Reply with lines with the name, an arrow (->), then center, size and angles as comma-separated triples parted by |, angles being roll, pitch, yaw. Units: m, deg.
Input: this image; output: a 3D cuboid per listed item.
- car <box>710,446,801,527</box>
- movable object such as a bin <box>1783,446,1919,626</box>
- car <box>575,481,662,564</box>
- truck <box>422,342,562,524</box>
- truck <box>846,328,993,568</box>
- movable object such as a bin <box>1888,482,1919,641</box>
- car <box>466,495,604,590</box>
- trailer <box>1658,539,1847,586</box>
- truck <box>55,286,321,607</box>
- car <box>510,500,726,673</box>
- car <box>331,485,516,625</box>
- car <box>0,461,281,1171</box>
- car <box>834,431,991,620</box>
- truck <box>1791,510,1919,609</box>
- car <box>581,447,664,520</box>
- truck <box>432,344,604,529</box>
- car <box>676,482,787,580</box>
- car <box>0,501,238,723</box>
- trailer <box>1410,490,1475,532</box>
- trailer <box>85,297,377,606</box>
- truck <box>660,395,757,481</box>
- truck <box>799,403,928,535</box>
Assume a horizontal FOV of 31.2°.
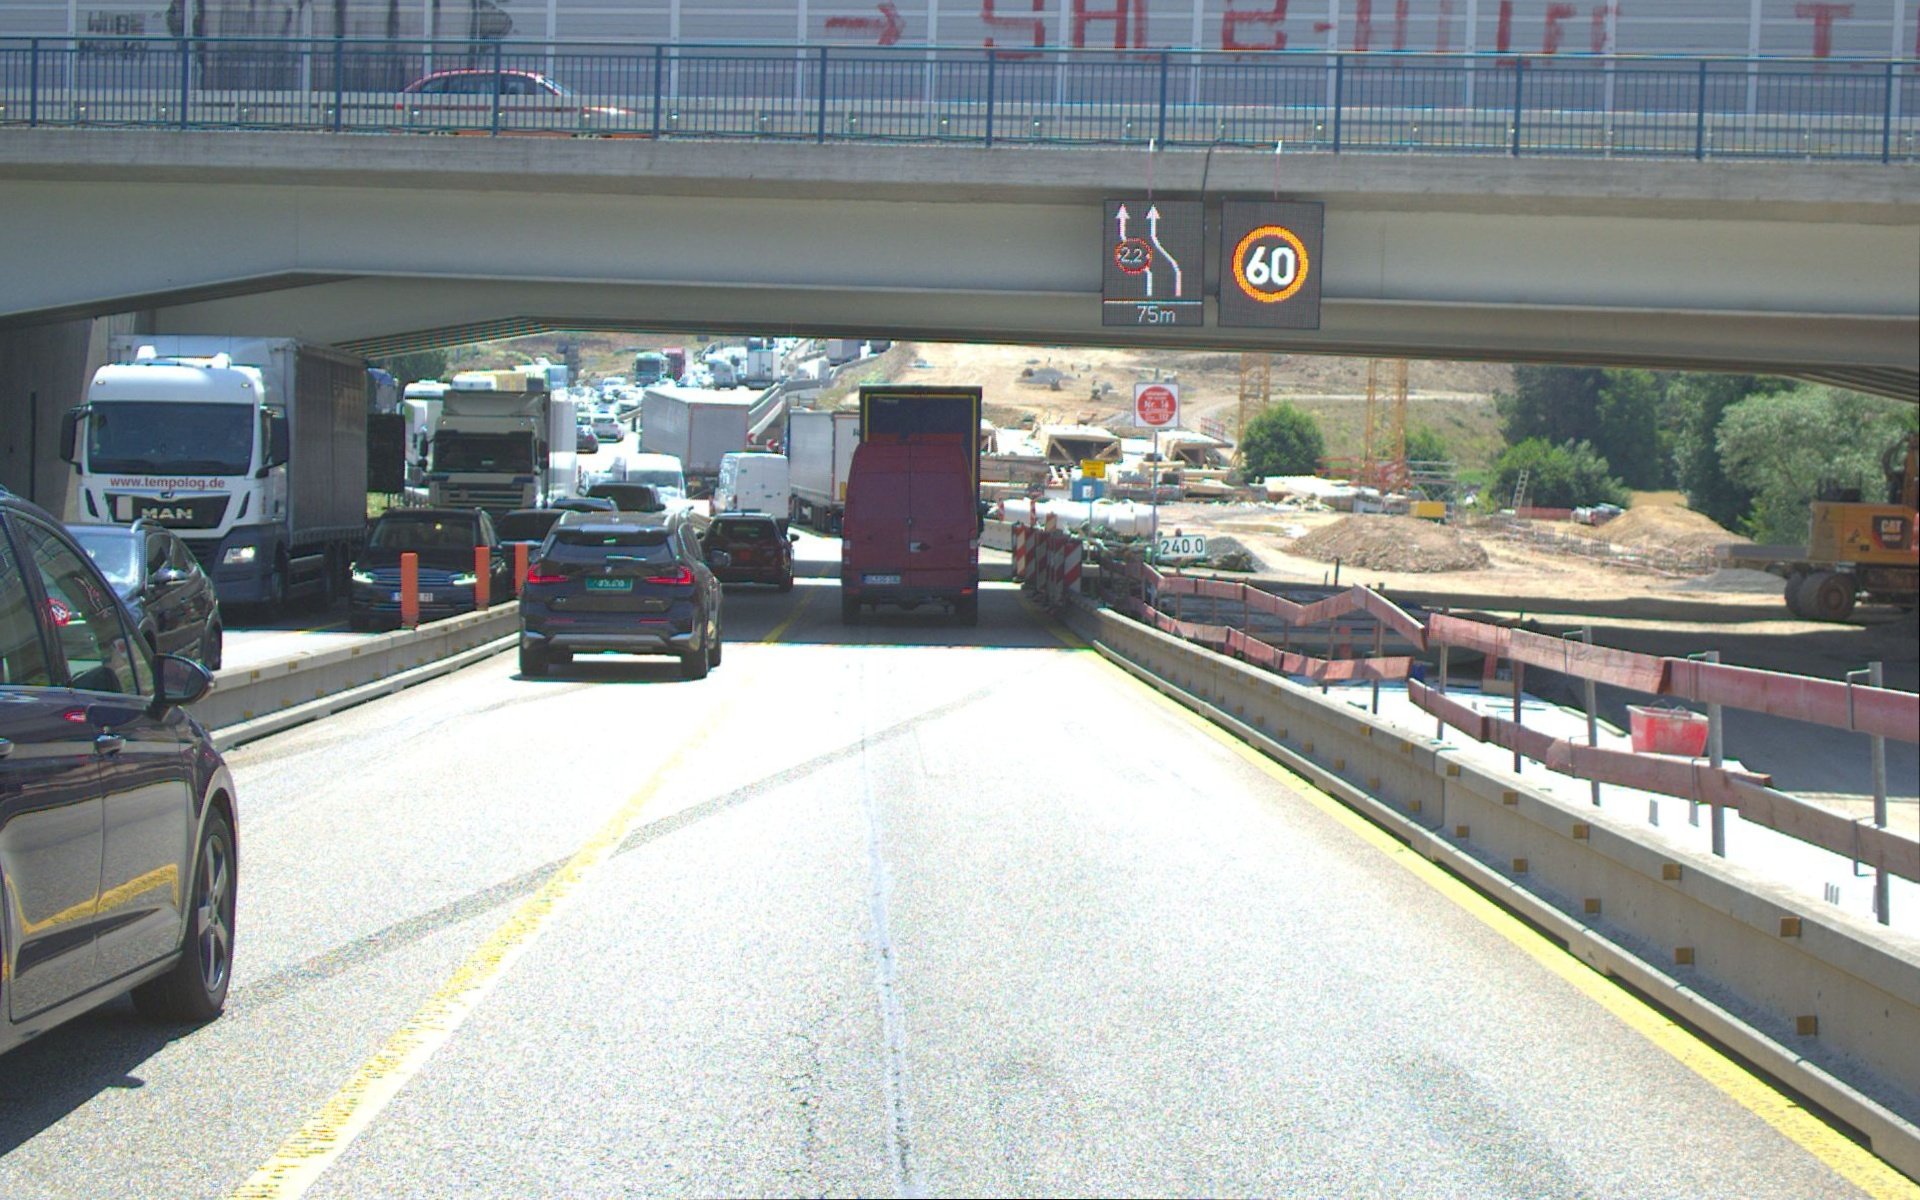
car -> -6.701, -3.718, 112.074 | 2.264, 2.346, 5.162 | 1, 4, -11
movable object such as a bin -> 19.188, -1.282, 71.143 | 3.883, 3.530, 2.902 | 3, 1, 10
car -> -8.246, -1.900, 83.280 | 1.799, 1.926, 4.969 | 1, 2, -3
truck -> -11.279, -3.967, 83.219 | 2.659, 4.156, 5.187 | 1, 1, -1
truck -> -0.836, -3.405, 74.956 | 2.945, 4.927, 6.743 | 1, 4, 0
movable object such as a bin -> 21.092, -0.636, 67.082 | 5.240, 3.046, 2.496 | 3, 1, 3
car -> -7.268, -0.979, 59.172 | 1.855, 1.522, 4.774 | 1, 1, -1
trailer -> 21.896, -1.034, 95.099 | 4.713, 1.215, 2.056 | 1, 1, -1
truck -> -10.468, -2.029, 46.974 | 2.798, 4.136, 4.074 | 1, 1, -3
car -> -3.422, -0.175, 35.064 | 1.833, 1.630, 4.390 | 1, 1, -1
car -> -7.199, -0.655, 46.488 | 1.855, 1.750, 4.609 | 1, 2, -1
car -> -3.054, 0.463, 8.763 | 1.734, 1.630, 4.390 | 1, 1, 0
car -> -0.691, -1.072, 50.892 | 2.150, 2.602, 5.439 | 1, 1, -1
truck -> 22.080, -0.834, 76.449 | 6.522, 2.066, 2.665 | 2, 2, 3
car -> -11.300, -3.888, 114.701 | 1.980, 2.322, 6.060 | 1, 2, -13
truck -> -11.374, -4.084, 89.847 | 2.769, 4.298, 13.491 | 1, 1, 0
car -> -4.309, -1.317, 65.357 | 1.833, 1.771, 4.390 | 1, 1, -1
car -> -6.839, 0.023, 26.300 | 1.753, 1.512, 4.187 | 1, 2, 0
trailer -> 18.411, -3.409, 131.271 | 1.623, 1.481, 3.827 | 2, 3, -4
trailer -> -10.640, -2.067, 50.980 | 2.812, 4.159, 8.244 | 1, 1, -2
truck -> -10.955, -6.938, 148.811 | 3.218, 3.349, 8.943 | 1, 1, -10
truck -> -3.176, -4.309, 111.367 | 3.181, 3.975, 6.745 | 1, 4, -10
